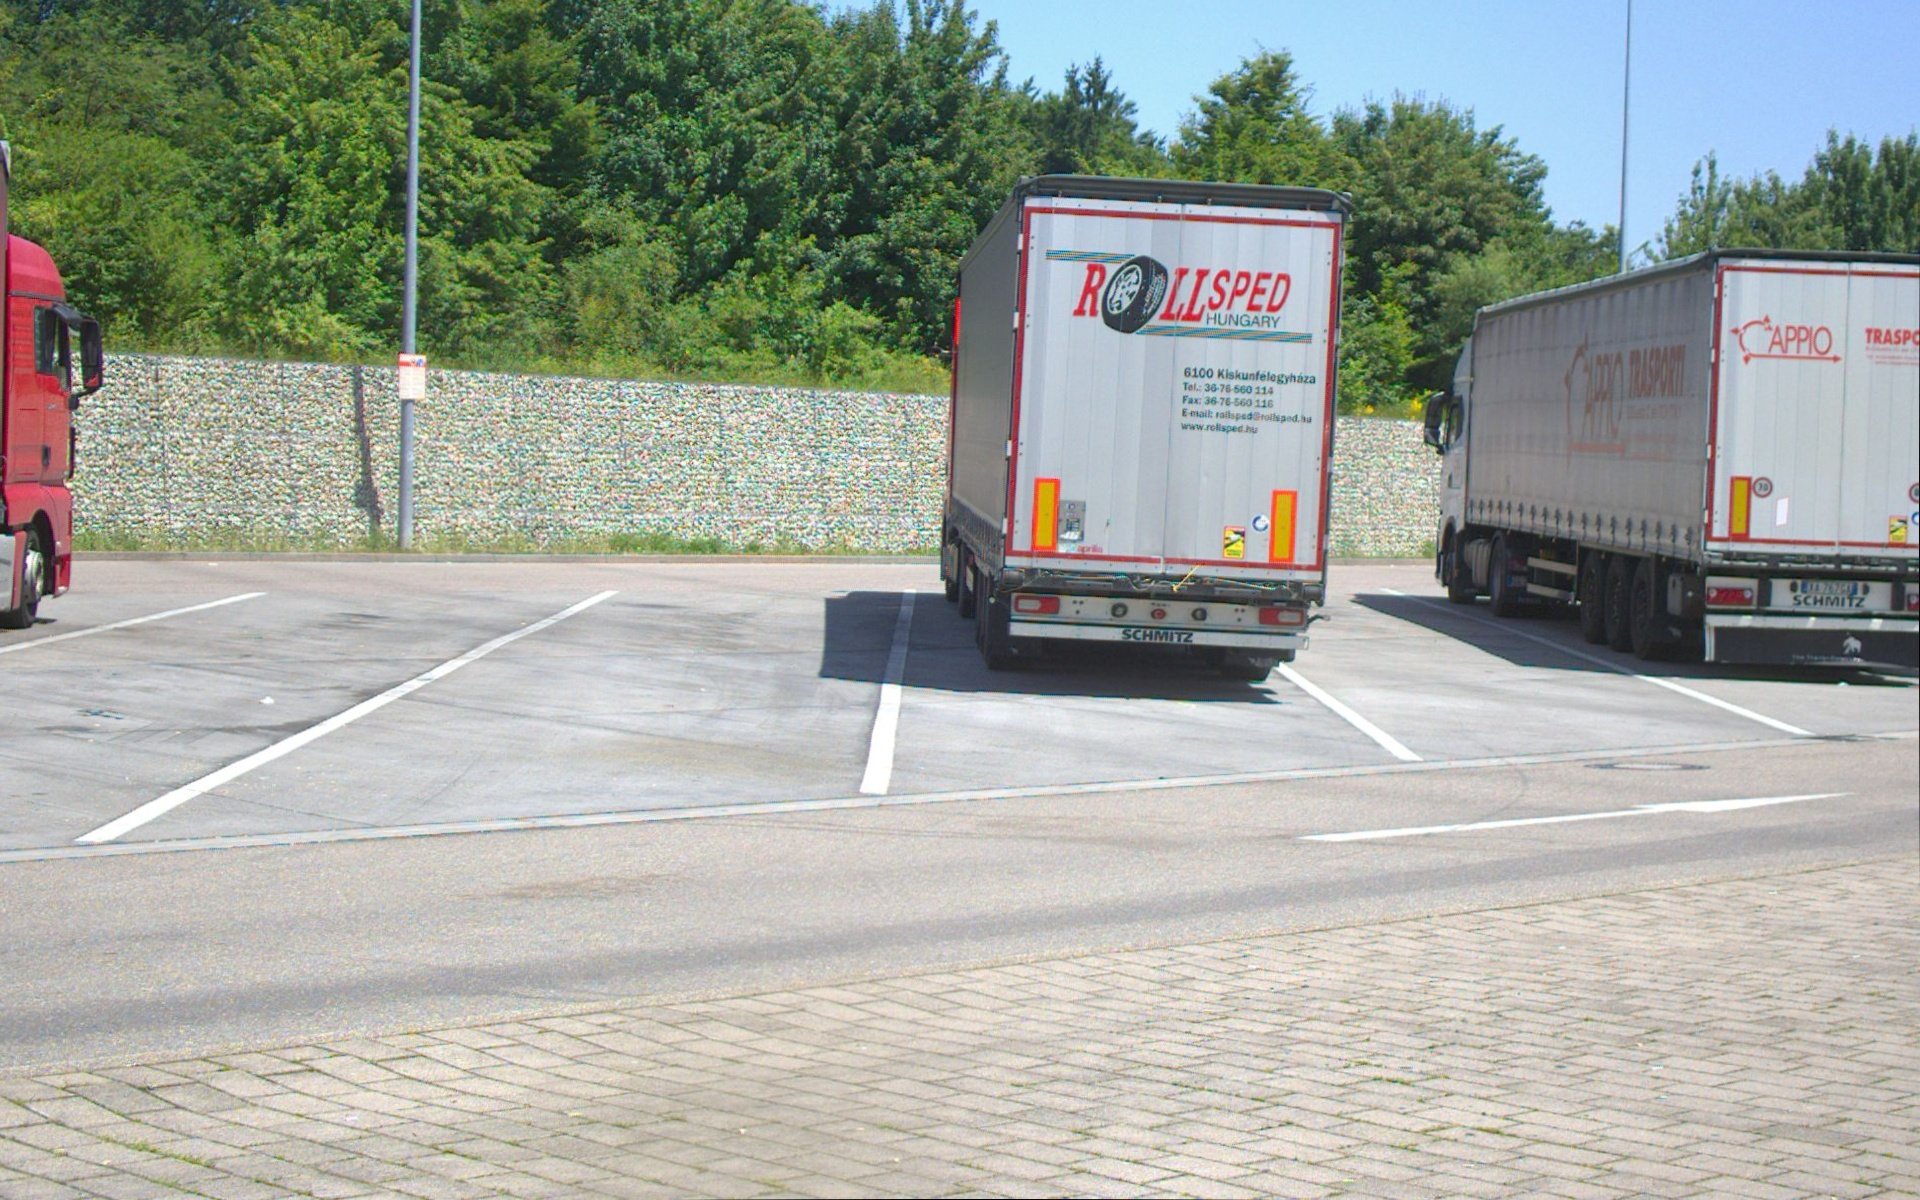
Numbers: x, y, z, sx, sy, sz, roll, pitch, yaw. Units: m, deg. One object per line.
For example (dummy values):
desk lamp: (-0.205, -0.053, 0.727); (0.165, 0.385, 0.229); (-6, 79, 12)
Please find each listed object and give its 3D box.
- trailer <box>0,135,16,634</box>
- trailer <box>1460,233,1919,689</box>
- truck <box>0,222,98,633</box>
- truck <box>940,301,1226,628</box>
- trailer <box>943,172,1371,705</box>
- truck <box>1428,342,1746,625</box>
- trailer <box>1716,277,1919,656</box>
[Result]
trailer: (-9.157, -1.465, 21.387); (2.821, 4.057, 13.765); (2, 3, -1)
trailer: (8.194, -1.592, 38.383); (2.858, 4.095, 13.765); (2, 3, -1)
truck: (-9.245, -1.456, 28.206); (2.812, 3.351, 5.975); (2, 3, -1)
truck: (1.282, -1.575, 39.330); (2.865, 3.351, 5.975); (2, 3, -1)
trailer: (1.466, -1.570, 33.128); (2.858, 3.958, 13.765); (2, 3, -1)
truck: (8.092, -1.573, 45.149); (2.865, 3.351, 5.975); (2, 3, -1)
trailer: (11.792, -1.508, 39.395); (2.858, 4.095, 13.765); (2, 3, -1)
